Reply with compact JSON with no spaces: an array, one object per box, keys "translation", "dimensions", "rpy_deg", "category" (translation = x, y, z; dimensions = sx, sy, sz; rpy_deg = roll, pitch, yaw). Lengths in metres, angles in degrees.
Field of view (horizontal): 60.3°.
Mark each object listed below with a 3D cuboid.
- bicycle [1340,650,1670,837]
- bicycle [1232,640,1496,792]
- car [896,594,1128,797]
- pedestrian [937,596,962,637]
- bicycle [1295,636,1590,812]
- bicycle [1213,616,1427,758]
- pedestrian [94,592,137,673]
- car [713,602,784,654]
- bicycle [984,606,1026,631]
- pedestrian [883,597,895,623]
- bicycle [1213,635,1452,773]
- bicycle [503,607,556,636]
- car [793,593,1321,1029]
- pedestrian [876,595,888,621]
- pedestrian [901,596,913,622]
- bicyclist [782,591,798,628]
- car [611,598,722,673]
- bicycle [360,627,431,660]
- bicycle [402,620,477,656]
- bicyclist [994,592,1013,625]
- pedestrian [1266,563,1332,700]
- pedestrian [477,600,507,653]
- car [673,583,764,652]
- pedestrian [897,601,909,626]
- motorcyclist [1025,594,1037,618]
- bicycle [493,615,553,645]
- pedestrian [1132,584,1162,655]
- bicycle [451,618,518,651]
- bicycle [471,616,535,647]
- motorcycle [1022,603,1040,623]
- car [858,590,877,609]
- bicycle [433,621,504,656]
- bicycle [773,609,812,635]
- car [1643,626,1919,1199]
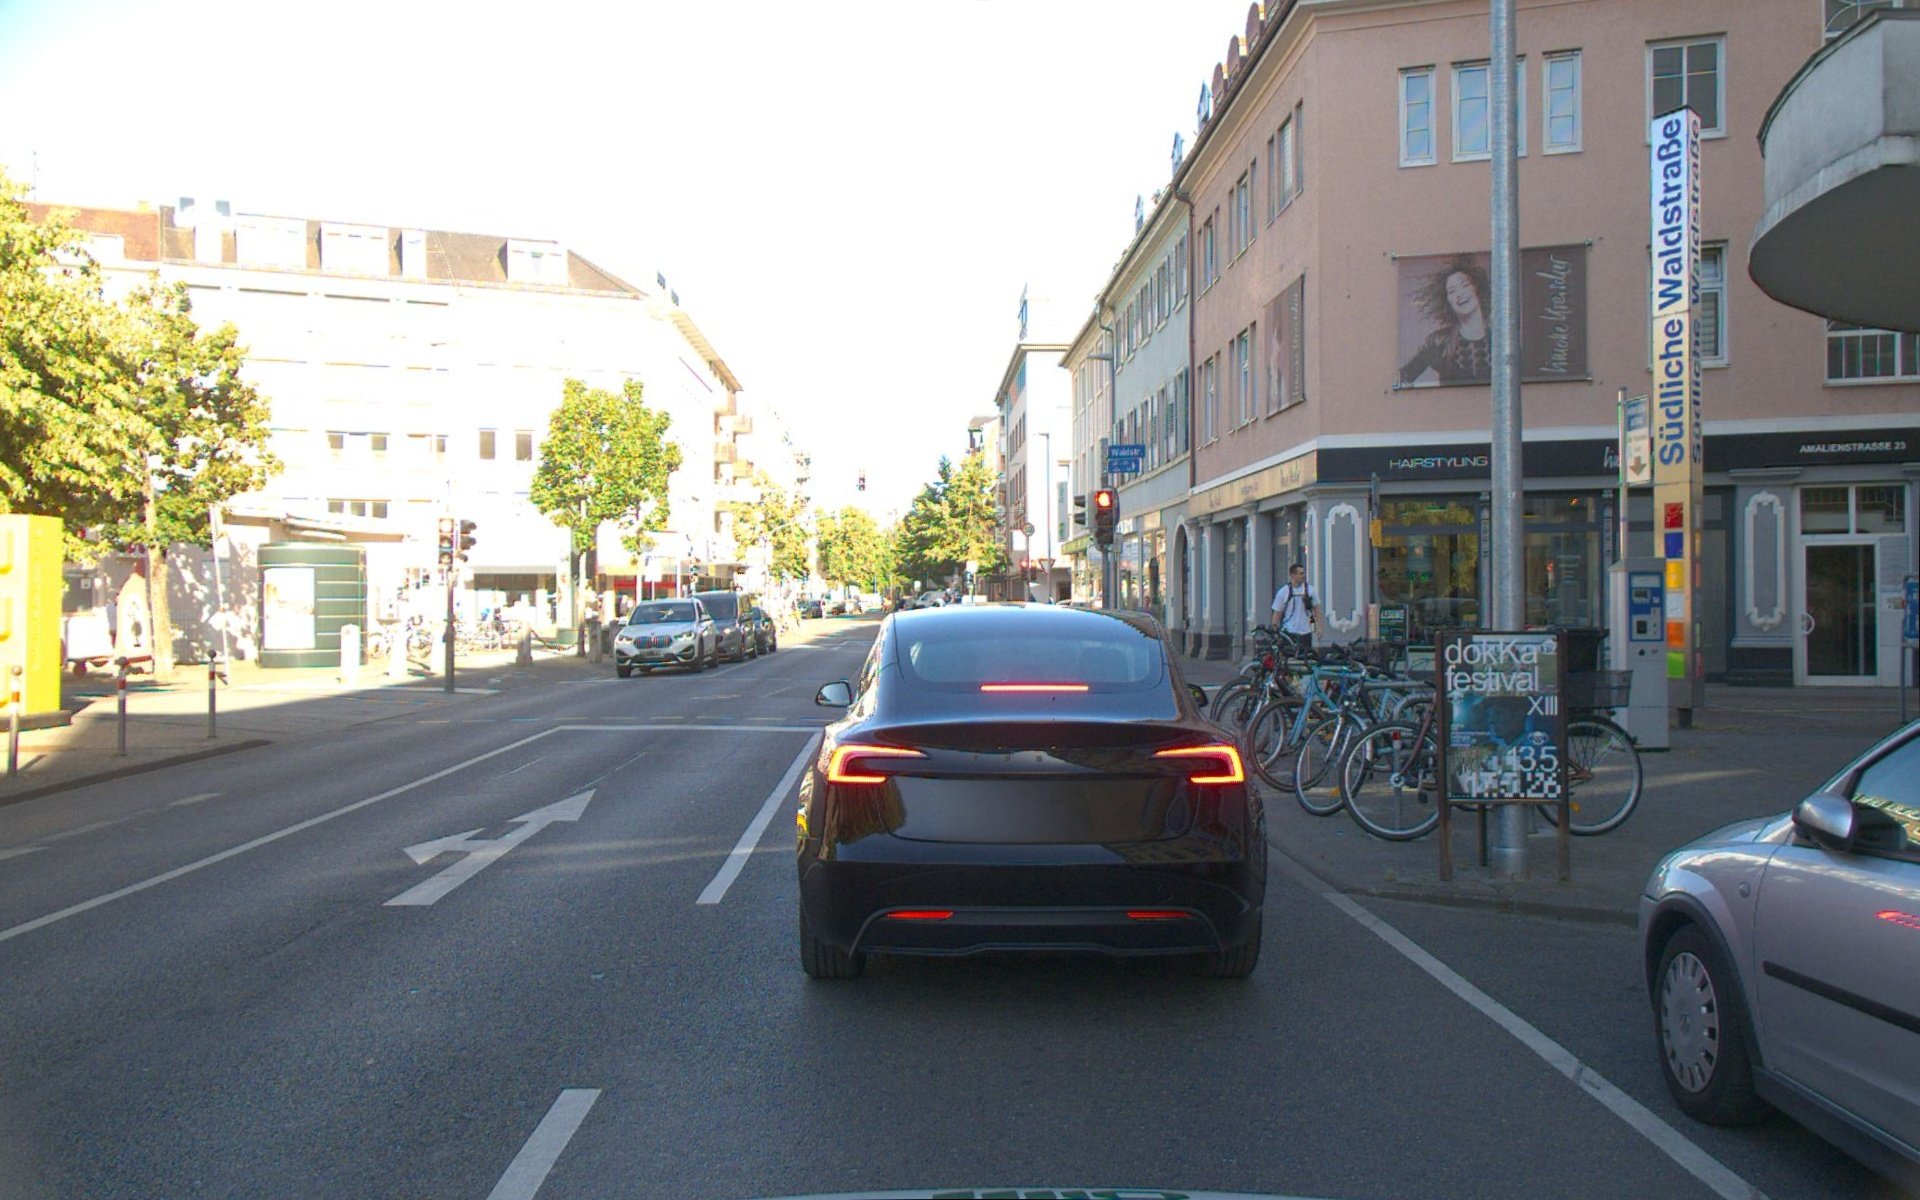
[{"translation":[3.277,0.865,10.028],"dimensions":[1.833,1.056,0.353],"rpy_deg":[-2,-1,6],"category":"bicycle"},{"translation":[3.019,0.864,12.460],"dimensions":[1.834,1.056,0.533],"rpy_deg":[-2,-1,3],"category":"bicycle"},{"translation":[0.306,0.686,13.855],"dimensions":[1.683,1.450,3.755],"rpy_deg":[0,0,-2],"category":"car"},{"translation":[-0.446,0.665,67.887],"dimensions":[0.742,1.660,0.951],"rpy_deg":[1,-1,-18],"category":"pedestrian"},{"translation":[3.237,0.828,11.173],"dimensions":[1.834,1.106,0.414],"rpy_deg":[-2,-1,3],"category":"bicycle"},{"translation":[3.196,0.767,14.787],"dimensions":[1.789,1.189,0.506],"rpy_deg":[-2,-1,5],"category":"bicycle"},{"translation":[-18.361,0.705,35.960],"dimensions":[0.465,1.746,0.711],"rpy_deg":[1,-1,10],"category":"pedestrian"},{"translation":[-6.353,0.814,49.910],"dimensions":[1.680,1.471,3.844],"rpy_deg":[1,0,-1],"category":"car"},{"translation":[1.933,0.805,70.931],"dimensions":[1.756,1.024,0.469],"rpy_deg":[1,-1,-17],"category":"bicycle"},{"translation":[-3.967,0.544,92.441],"dimensions":[0.516,1.447,0.474],"rpy_deg":[1,-1,-31],"category":"pedestrian"},{"translation":[3.053,0.849,13.664],"dimensions":[1.833,1.056,0.548],"rpy_deg":[-2,-1,5],"category":"bicycle"},{"translation":[-20.211,1.023,77.656],"dimensions":[2.334,1.318,0.509],"rpy_deg":[1,-1,-27],"category":"bicycle"},{"translation":[0.303,0.722,7.598],"dimensions":[1.785,1.467,3.999],"rpy_deg":[0,0,-1],"category":"car"},{"translation":[-4.389,0.440,93.246],"dimensions":[0.467,1.442,0.516],"rpy_deg":[1,-1,-32],"category":"pedestrian"},{"translation":[-2.992,0.517,93.246],"dimensions":[0.516,1.447,0.474],"rpy_deg":[1,-1,-31],"category":"pedestrian"},{"translation":[-7.055,0.396,68.680],"dimensions":[0.516,1.530,0.472],"rpy_deg":[1,-1,-25],"category":"bicyclist"},{"translation":[-6.327,0.741,36.015],"dimensions":[1.752,1.485,3.756],"rpy_deg":[-2,0,-1],"category":"car"},{"translation":[-14.455,1.109,42.395],"dimensions":[1.612,0.806,0.606],"rpy_deg":[1,0,-5],"category":"bicycle"},{"translation":[-14.146,1.030,44.978],"dimensions":[1.826,0.950,0.606],"rpy_deg":[1,0,-2],"category":"bicycle"},{"translation":[1.870,0.370,70.912],"dimensions":[0.659,1.420,0.460],"rpy_deg":[1,-1,-17],"category":"bicyclist"},{"translation":[4.548,0.417,22.229],"dimensions":[0.735,1.796,0.837],"rpy_deg":[1,-1,3],"category":"pedestrian"},{"translation":[-18.389,1.046,64.950],"dimensions":[1.041,2.049,1.049],"rpy_deg":[1,-1,-20],"category":"pedestrian"},{"translation":[-6.148,0.409,42.460],"dimensions":[1.751,1.675,4.401],"rpy_deg":[0,0,-1],"category":"car"},{"translation":[-3.233,0.768,93.791],"dimensions":[0.516,1.447,0.474],"rpy_deg":[1,-1,-31],"category":"pedestrian"},{"translation":[3.868,0.332,90.071],"dimensions":[0.486,1.275,0.350],"rpy_deg":[1,-1,-38],"category":"motorcyclist"},{"translation":[-14.369,0.988,54.378],"dimensions":[1.826,0.950,0.606],"rpy_deg":[0,0,-2],"category":"bicycle"},{"translation":[4.679,0.482,41.425],"dimensions":[0.692,1.773,0.540],"rpy_deg":[0,0,-1],"category":"pedestrian"},{"translation":[-14.242,1.046,49.589],"dimensions":[1.826,0.950,0.606],"rpy_deg":[1,0,-2],"category":"bicycle"},{"translation":[-14.333,0.979,51.930],"dimensions":[1.826,0.950,0.606],"rpy_deg":[0,0,-2],"category":"bicycle"},{"translation":[3.860,0.696,90.065],"dimensions":[0.970,1.105,0.351],"rpy_deg":[0,0,-38],"category":"motorcycle"},{"translation":[-10.402,-0.065,186.928],"dimensions":[1.953,2.049,3.999],"rpy_deg":[0,0,-1],"category":"car"},{"translation":[-14.005,1.085,47.118],"dimensions":[1.826,0.950,0.606],"rpy_deg":[1,0,-2],"category":"bicycle"},{"translation":[-6.954,0.919,68.725],"dimensions":[1.536,1.030,0.480],"rpy_deg":[1,-1,-25],"category":"bicycle"},{"translation":[2.915,0.786,3.499],"dimensions":[1.515,1.415,3.476],"rpy_deg":[0,0,0],"category":"car"}]
